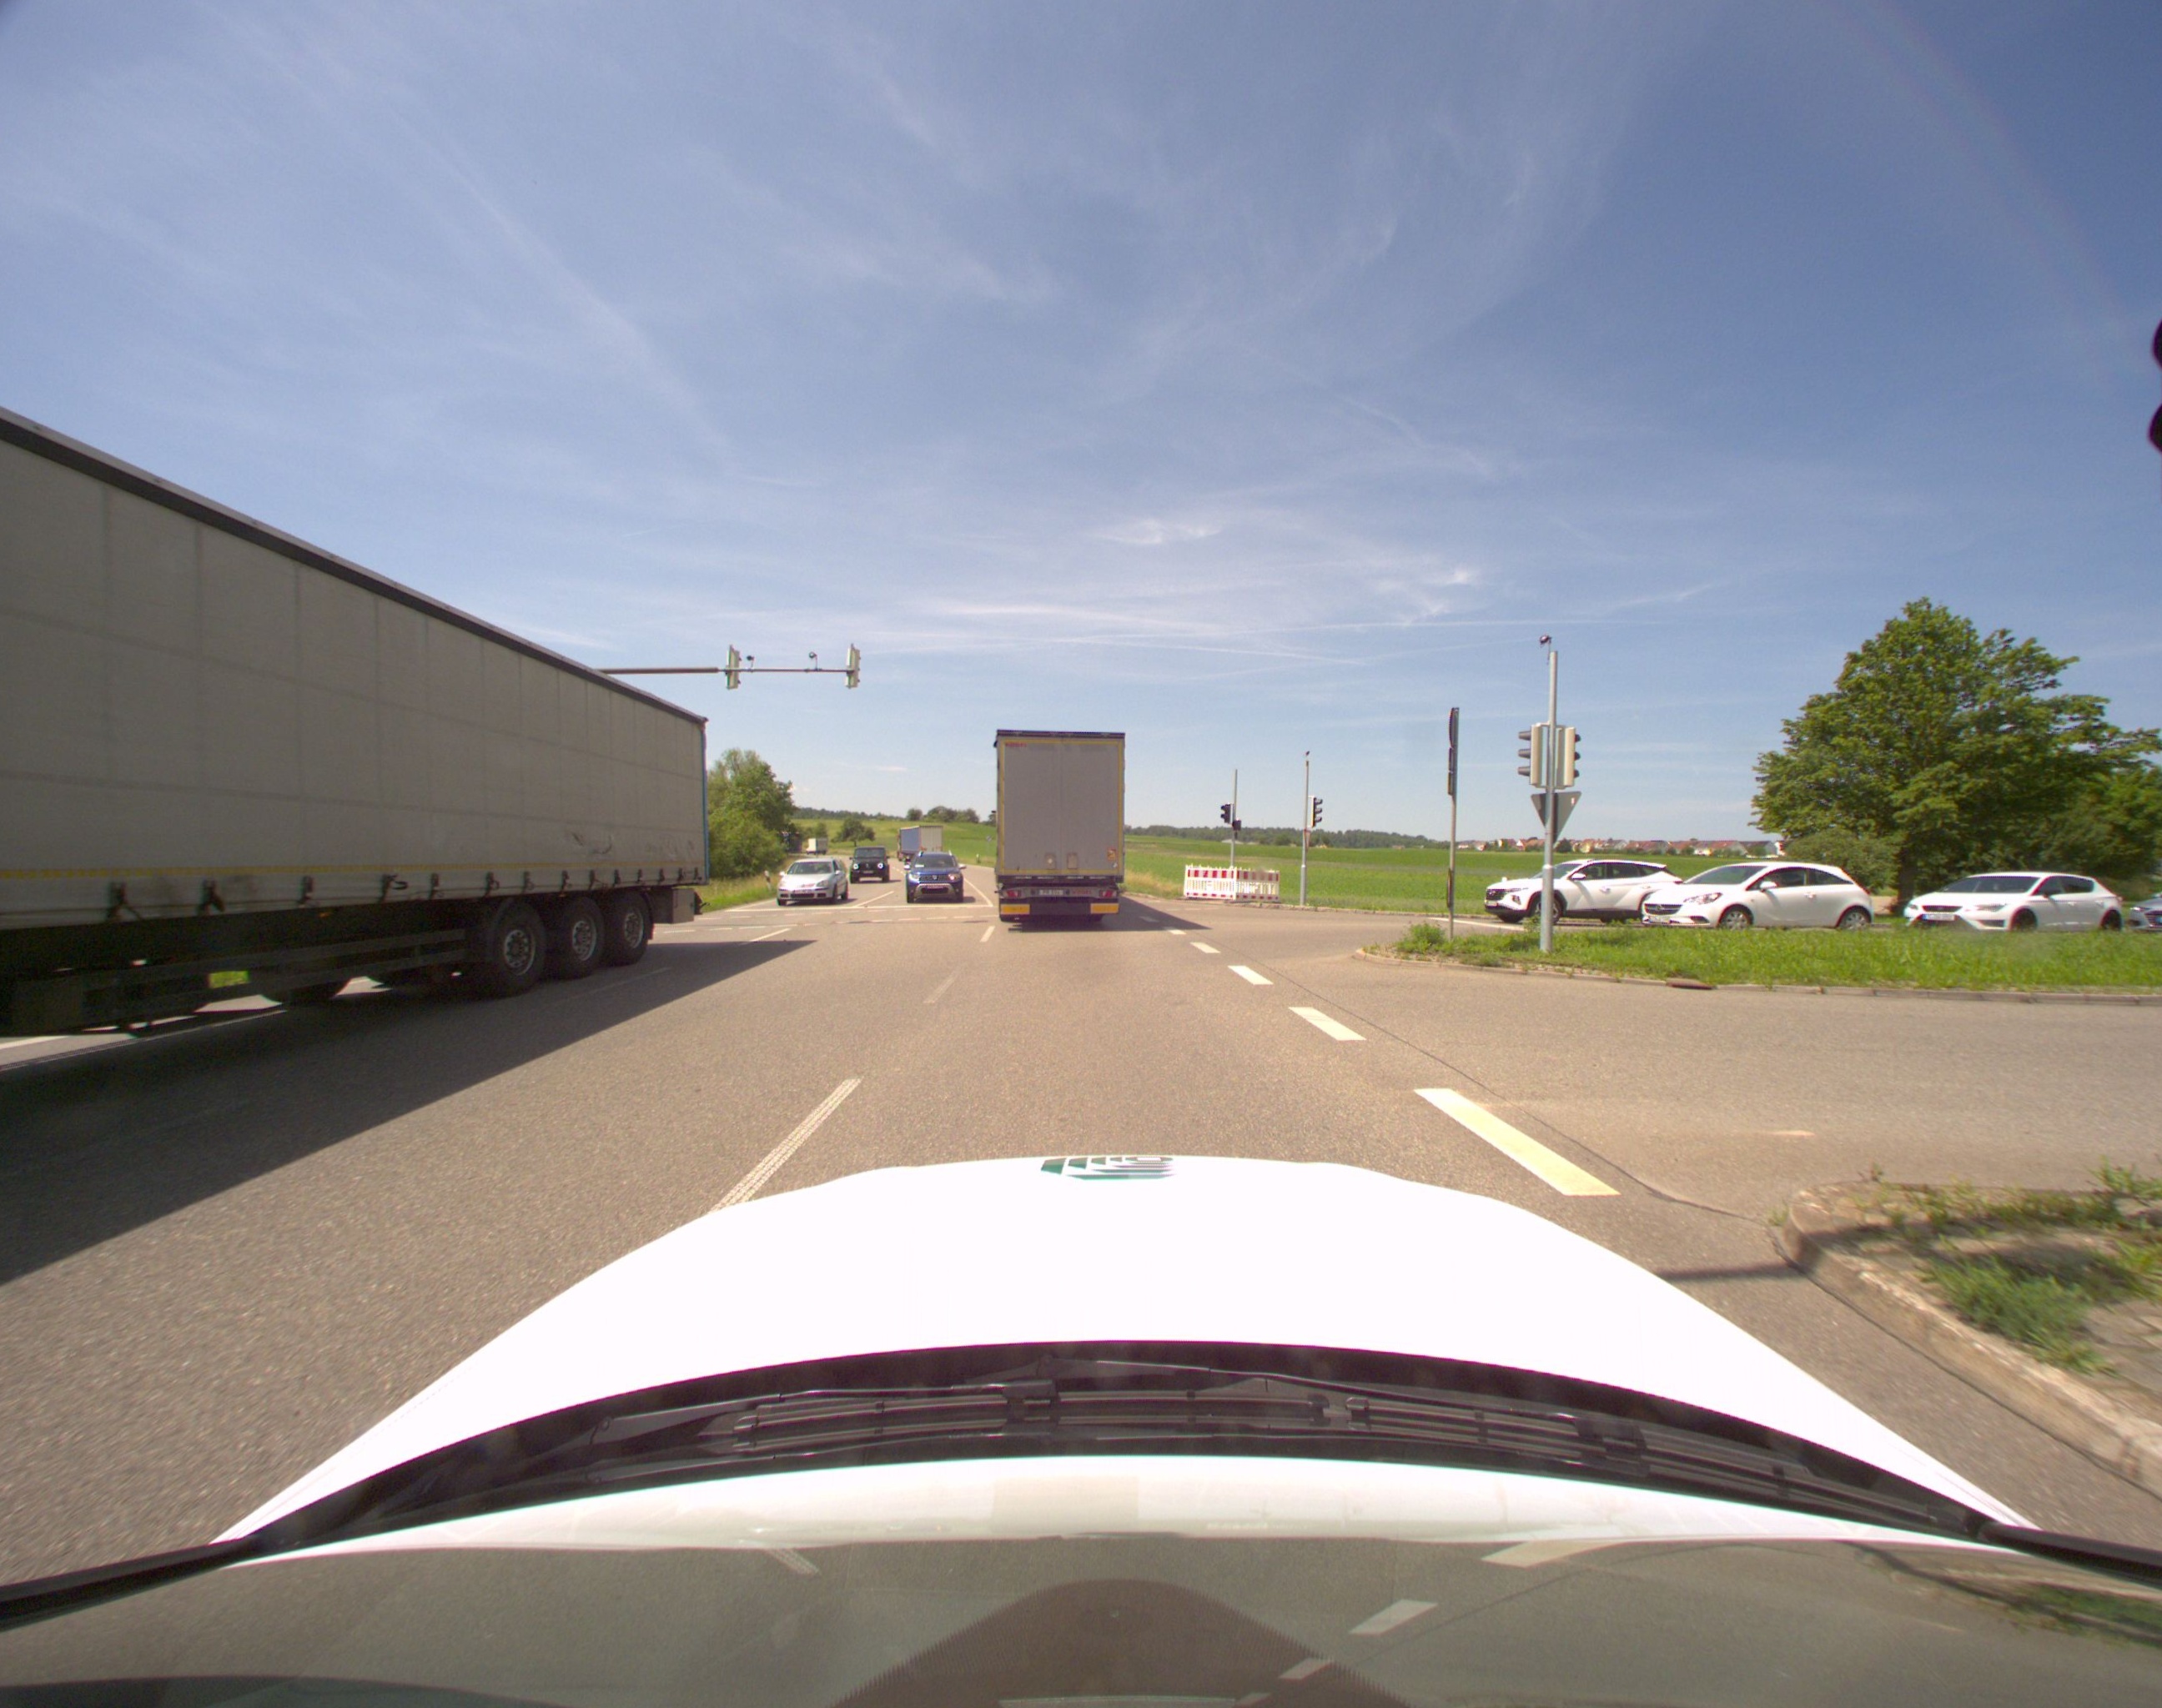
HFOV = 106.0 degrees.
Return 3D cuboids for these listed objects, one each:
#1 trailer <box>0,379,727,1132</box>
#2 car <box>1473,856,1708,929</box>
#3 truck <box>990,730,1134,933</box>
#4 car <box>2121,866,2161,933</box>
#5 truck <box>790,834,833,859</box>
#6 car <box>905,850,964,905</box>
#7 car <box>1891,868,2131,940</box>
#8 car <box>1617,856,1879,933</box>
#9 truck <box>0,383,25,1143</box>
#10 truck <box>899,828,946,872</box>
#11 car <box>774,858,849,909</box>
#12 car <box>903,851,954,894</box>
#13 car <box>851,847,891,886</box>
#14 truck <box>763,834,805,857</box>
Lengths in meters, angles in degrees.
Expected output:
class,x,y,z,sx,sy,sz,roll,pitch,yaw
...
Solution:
class,x,y,z,sx,sy,sz,roll,pitch,yaw
trailer,-7.324,-0.539,8.057,2.562,4.029,13.574,-1,0,-4
car,12.495,0.941,20.195,4.611,1.607,1.998,1,-2,0
truck,-0.828,-0.422,20.752,2.804,3.946,9.571,0,0,-6
car,26.669,1.093,18.844,4.560,1.510,1.789,2,-2,-19
truck,-49.246,-1.299,148.498,3.665,4.130,12.952,2,-2,-36
car,-4.848,0.725,27.038,1.771,1.658,3.986,0,0,-10
car,19.980,1.020,17.535,4.100,1.419,1.791,0,-2,-15
car,13.121,0.786,16.150,3.956,1.419,1.823,1,-2,-8
truck,-6.915,-0.459,1.067,2.560,4.030,6.555,-1,0,-2
truck,-18.585,-0.344,94.199,2.971,4.584,16.206,0,-1,-20
car,-8.703,0.887,26.579,1.772,1.495,3.985,-1,0,-11
car,-6.228,0.713,33.610,1.769,1.658,3.991,0,0,-7
car,-11.572,0.644,44.844,1.997,2.006,5.138,0,0,-15
truck,-59.045,-1.588,161.667,3.558,4.241,13.249,2,-2,-39
